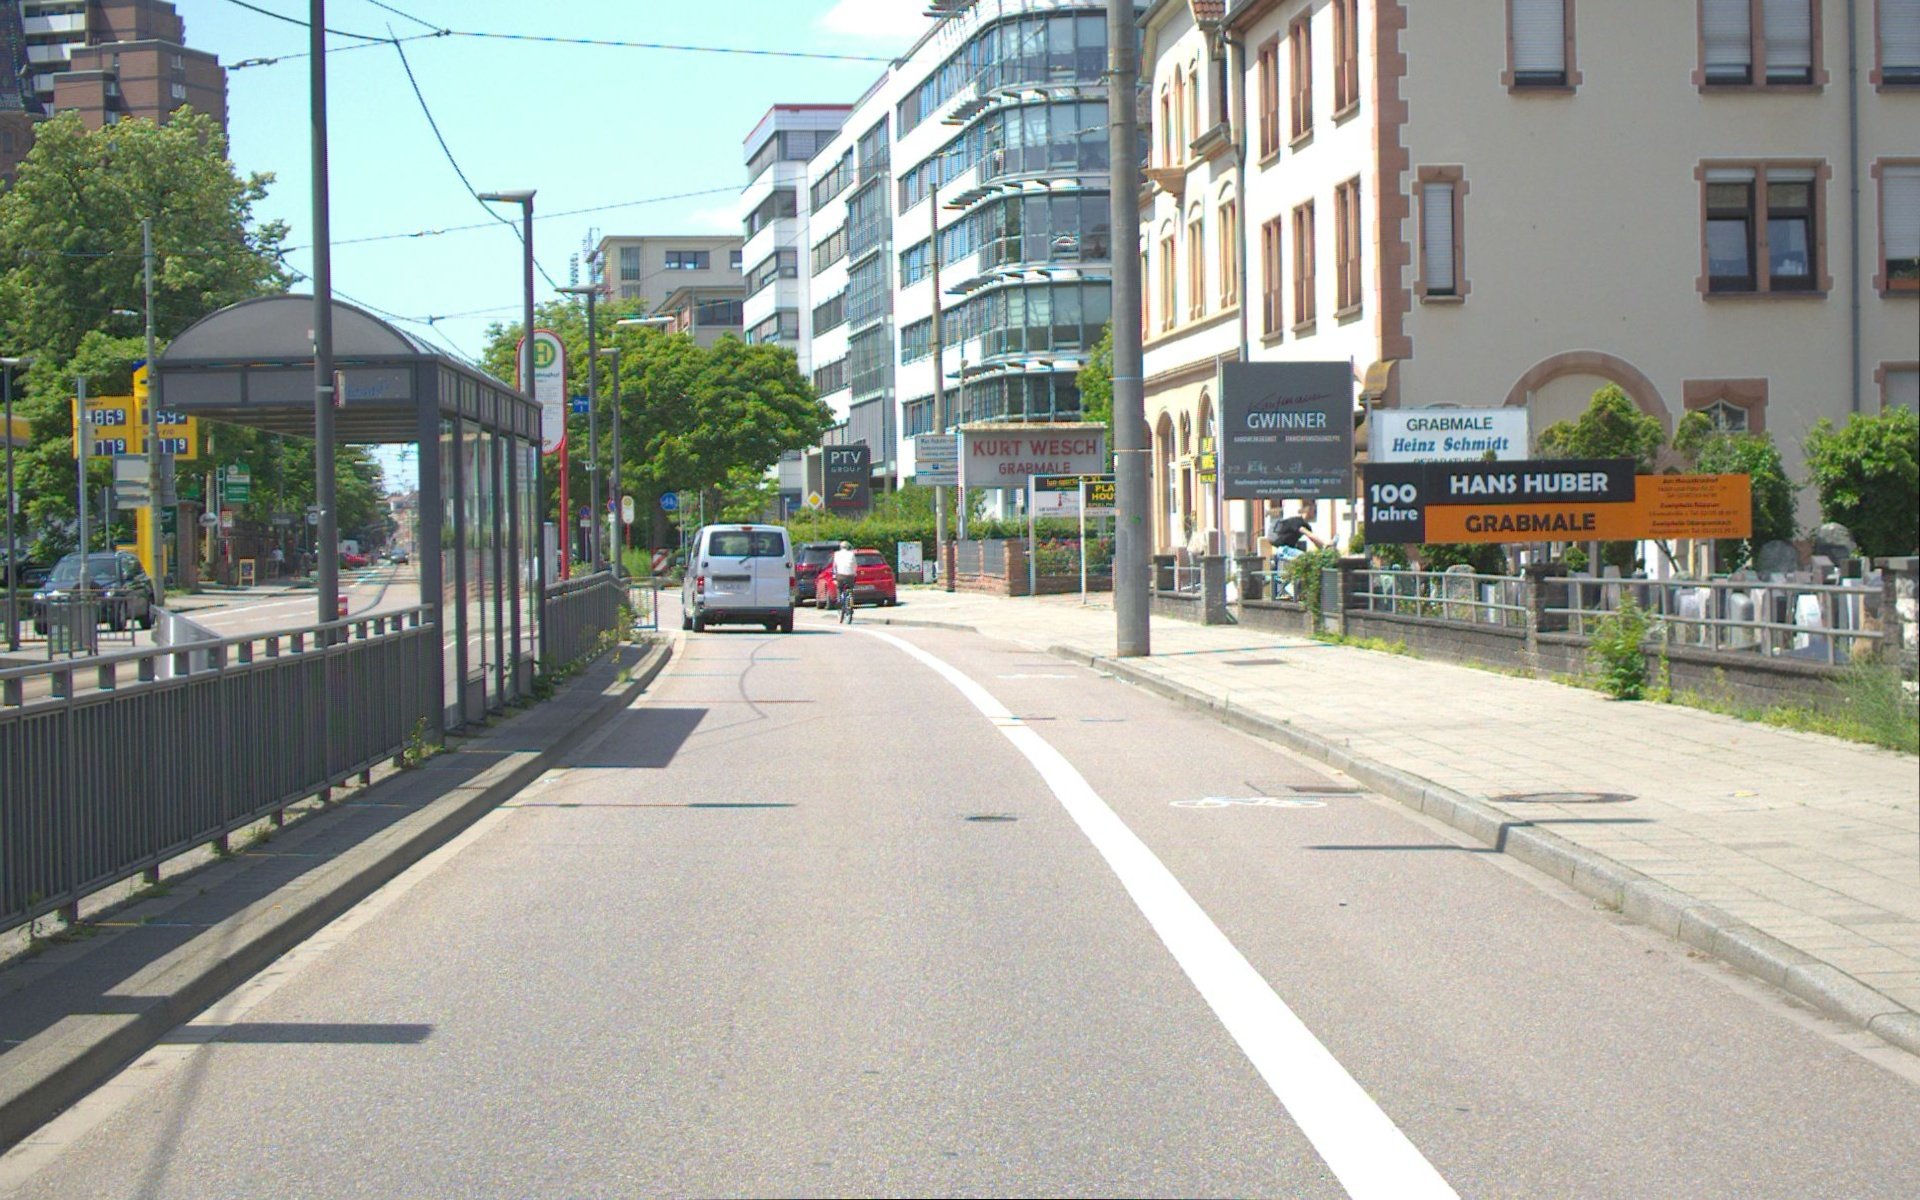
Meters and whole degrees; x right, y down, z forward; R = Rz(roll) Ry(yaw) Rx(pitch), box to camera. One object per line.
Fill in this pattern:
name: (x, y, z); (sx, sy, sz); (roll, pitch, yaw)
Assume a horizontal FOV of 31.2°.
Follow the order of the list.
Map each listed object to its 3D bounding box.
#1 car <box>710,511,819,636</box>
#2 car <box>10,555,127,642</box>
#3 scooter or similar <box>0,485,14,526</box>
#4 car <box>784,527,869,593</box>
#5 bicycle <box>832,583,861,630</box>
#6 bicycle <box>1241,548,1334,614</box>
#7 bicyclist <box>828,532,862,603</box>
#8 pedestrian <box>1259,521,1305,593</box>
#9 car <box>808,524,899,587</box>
car: (-3.411, -0.499, 59.575); (1.752, 2.006, 4.001); (-2, 2, -4)
car: (-18.585, -0.061, 71.799); (1.698, 1.610, 3.759); (-3, 2, -5)
scooter or similar: (-34.883, -3.402, 124.227); (1.172, 1.461, 1.059); (-1, 0, -4)
car: (-3.607, -1.095, 92.047); (1.863, 1.681, 5.001); (-2, 1, -6)
bicycle: (-2.267, 0.120, 68.623); (0.465, 0.884, 2.048); (0, 1, -5)
bicycle: (4.966, -0.287, 52.188); (1.314, 0.937, 0.357); (-3, -1, 20)
bicyclist: (-2.300, -0.649, 68.594); (0.591, 1.392, 0.842); (-1, 1, -8)
pedestrian: (4.888, -0.652, 52.207); (0.535, 1.050, 0.484); (-3, 0, 21)
car: (-2.684, -1.123, 85.932); (1.711, 1.447, 4.073); (-3, 2, -9)
